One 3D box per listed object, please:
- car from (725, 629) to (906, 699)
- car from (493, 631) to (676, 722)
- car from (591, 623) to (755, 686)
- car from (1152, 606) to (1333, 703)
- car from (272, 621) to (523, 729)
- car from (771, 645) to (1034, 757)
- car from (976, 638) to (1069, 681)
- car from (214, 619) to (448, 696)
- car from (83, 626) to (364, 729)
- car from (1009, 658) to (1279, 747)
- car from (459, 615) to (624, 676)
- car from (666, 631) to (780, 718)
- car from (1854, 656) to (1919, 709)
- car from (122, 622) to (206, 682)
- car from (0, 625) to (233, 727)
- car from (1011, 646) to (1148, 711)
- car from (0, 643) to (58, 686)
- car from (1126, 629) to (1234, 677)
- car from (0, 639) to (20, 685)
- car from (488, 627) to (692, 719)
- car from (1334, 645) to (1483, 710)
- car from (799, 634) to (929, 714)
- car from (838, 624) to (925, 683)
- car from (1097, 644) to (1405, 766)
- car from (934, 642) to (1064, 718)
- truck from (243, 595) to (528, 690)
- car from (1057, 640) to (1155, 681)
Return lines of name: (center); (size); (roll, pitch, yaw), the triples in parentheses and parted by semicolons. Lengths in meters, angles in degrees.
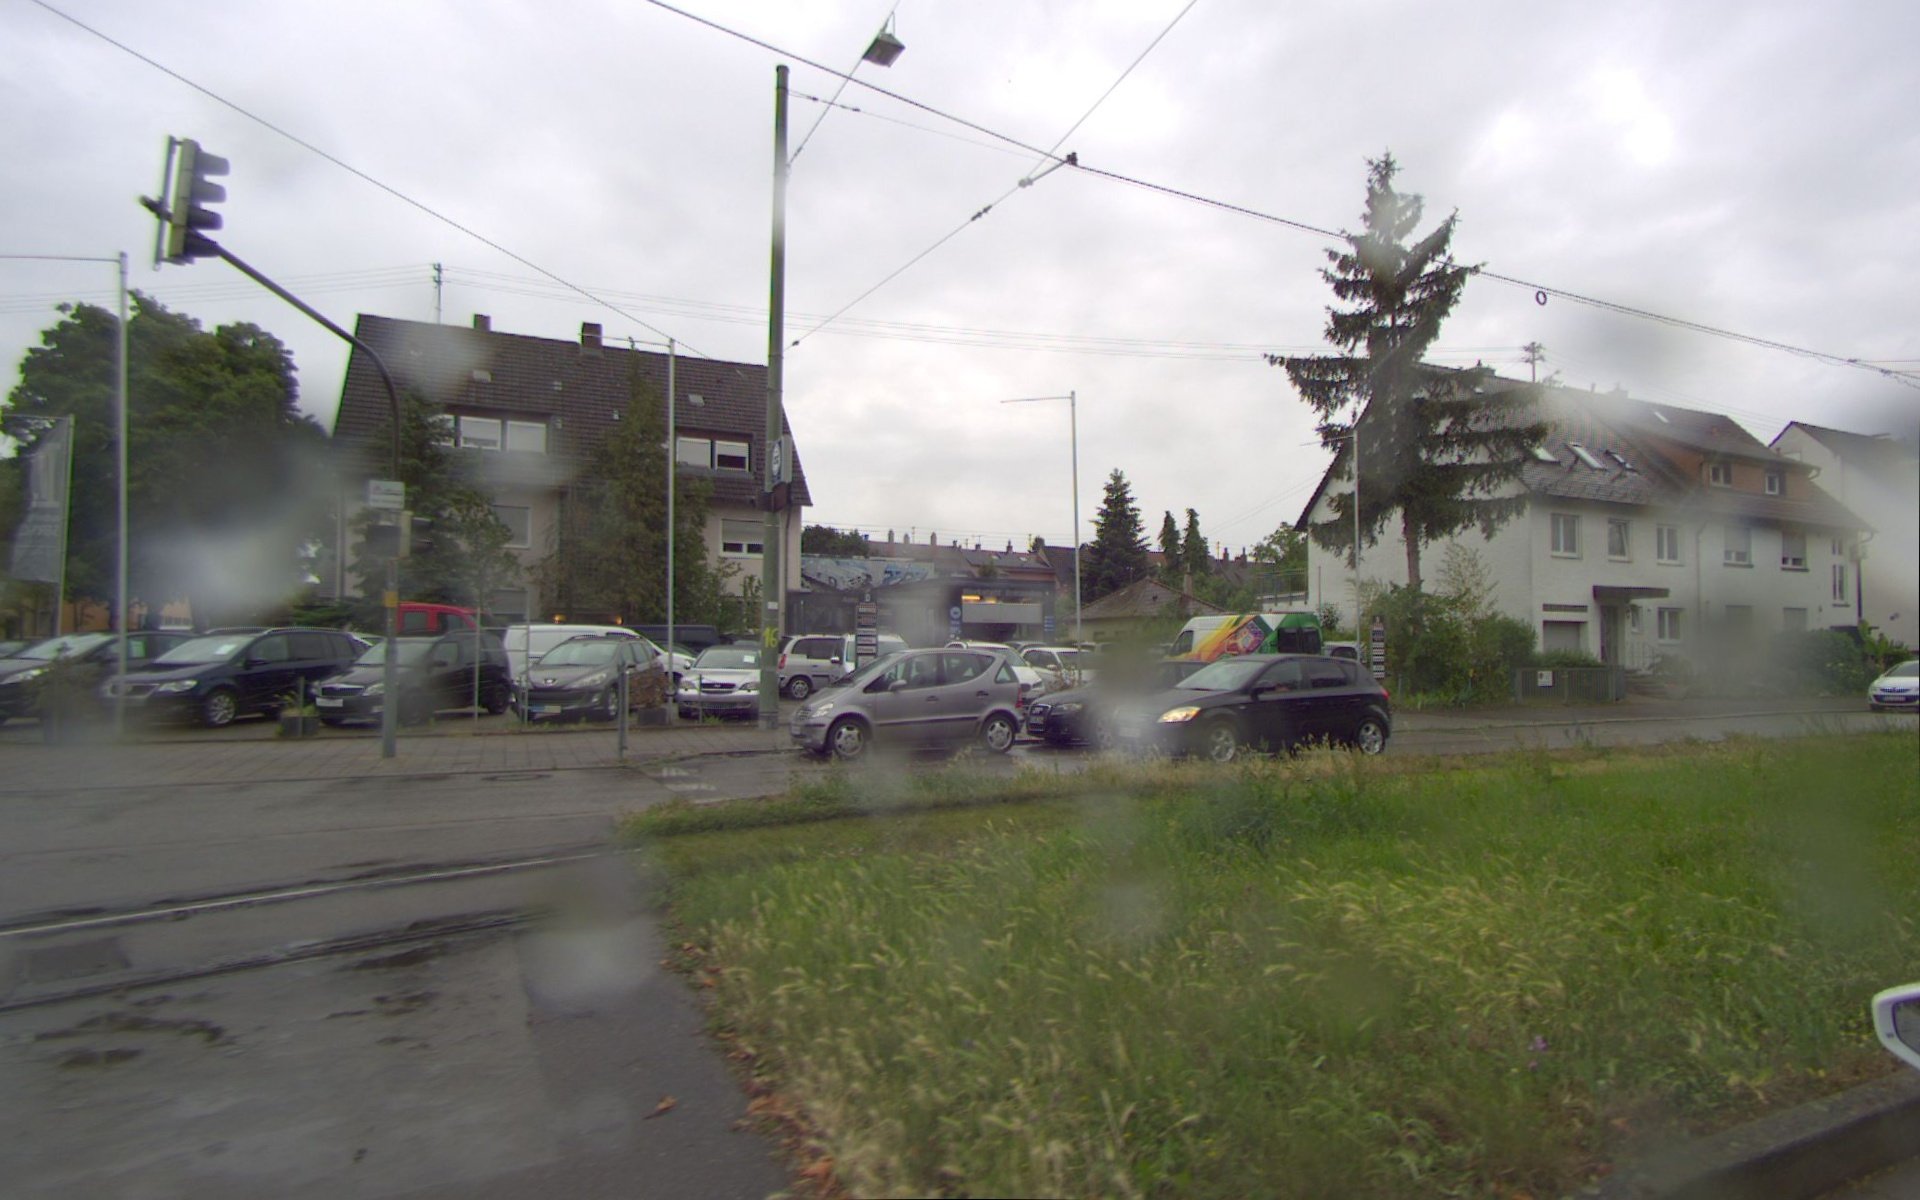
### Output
car: (-3.754, 1.653, 26.167); (4.384, 1.709, 1.751); (1, -4, -23)
car: (-7.137, 1.469, 19.584); (1.797, 1.523, 4.061); (2, -4, 3)
car: (-8.367, 1.585, 29.295); (4.384, 1.709, 1.990); (1, -4, -23)
car: (7.868, 1.558, 28.571); (2.123, 2.437, 5.118); (4, -4, -25)
car: (-9.988, 1.317, 18.255); (1.959, 1.739, 4.004); (-1, -3, 7)
car: (-0.870, 1.524, 15.313); (3.597, 1.523, 1.712); (4, -4, -27)
car: (2.341, 2.282, 38.761); (1.765, 1.517, 3.972); (4, -4, -27)
car: (-13.991, 1.288, 22.566); (3.903, 1.618, 1.999); (0, -3, -5)
car: (-12.648, 1.300, 17.601); (1.771, 1.599, 3.875); (-1, -3, 7)
car: (3.167, 1.761, 17.182); (4.328, 1.356, 1.713); (4, -4, -24)
car: (-12.405, 1.388, 29.991); (4.384, 1.709, 1.990); (1, -4, -23)
car: (-4.688, 1.489, 20.377); (1.800, 1.523, 4.055); (2, -4, -8)
car: (27.660, 2.393, 28.818); (3.891, 1.442, 1.596); (4, -4, -25)
car: (-36.934, 2.406, 46.722); (2.133, 2.605, 4.105); (4, -4, -27)
car: (-15.328, 1.282, 17.782); (1.771, 1.599, 3.875); (-1, -3, 7)
car: (2.818, 1.870, 24.527); (1.698, 1.414, 3.823); (3, -4, -21)
car: (-41.164, 2.795, 43.609); (1.975, 1.772, 3.973); (2, -4, -27)
car: (7.977, 1.915, 36.149); (1.839, 1.601, 4.375); (-3, -5, 43)
car: (-37.778, 2.344, 38.116); (1.975, 1.772, 3.973); (2, -4, -27)
car: (-8.780, 1.710, 23.985); (4.384, 2.039, 1.990); (1, -4, -23)
car: (13.270, 2.231, 29.699); (3.842, 1.585, 1.987); (-2, -1, -26)
car: (-2.217, 1.581, 22.214); (1.782, 1.599, 3.851); (1, -3, -23)
car: (-2.900, 1.893, 36.366); (1.973, 1.803, 3.584); (4, 0, -25)
car: (4.070, 1.455, 14.014); (3.945, 1.505, 1.732); (4, -4, -24)
car: (0.824, 1.825, 23.448); (1.698, 1.593, 3.600); (3, -4, -21)
truck: (-14.508, 1.095, 25.705); (5.987, 2.301, 1.999); (0, -3, -6)
car: (6.008, 2.463, 40.992); (1.769, 1.601, 4.422); (-3, -5, 43)
